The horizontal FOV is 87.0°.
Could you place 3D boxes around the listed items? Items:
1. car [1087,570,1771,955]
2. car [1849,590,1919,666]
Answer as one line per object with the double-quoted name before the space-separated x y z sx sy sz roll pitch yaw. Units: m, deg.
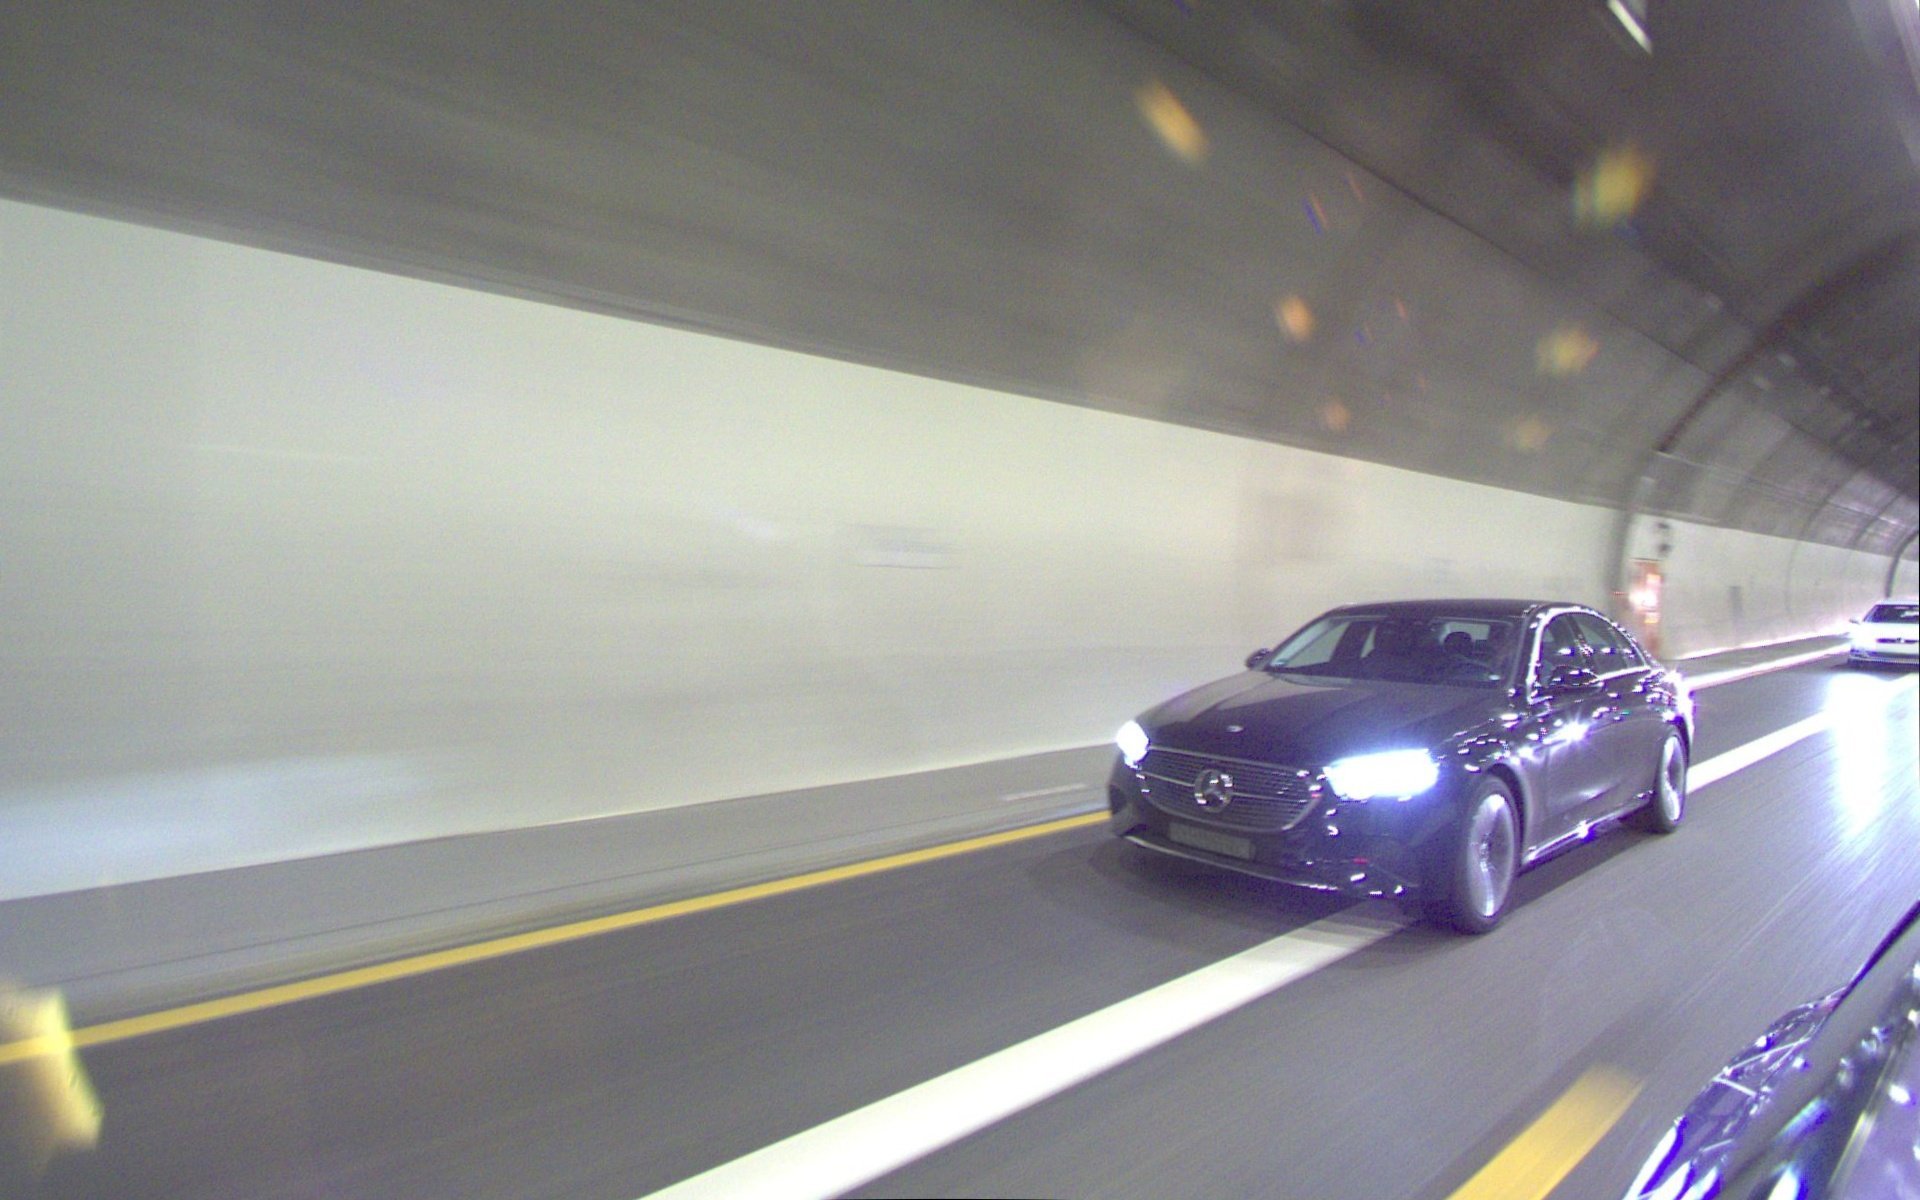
"car" 3.190 0.614 6.312 4.865 1.490 1.930 0 3 -39
"car" 20.213 0.559 21.152 3.961 1.479 1.801 0 1 -39
